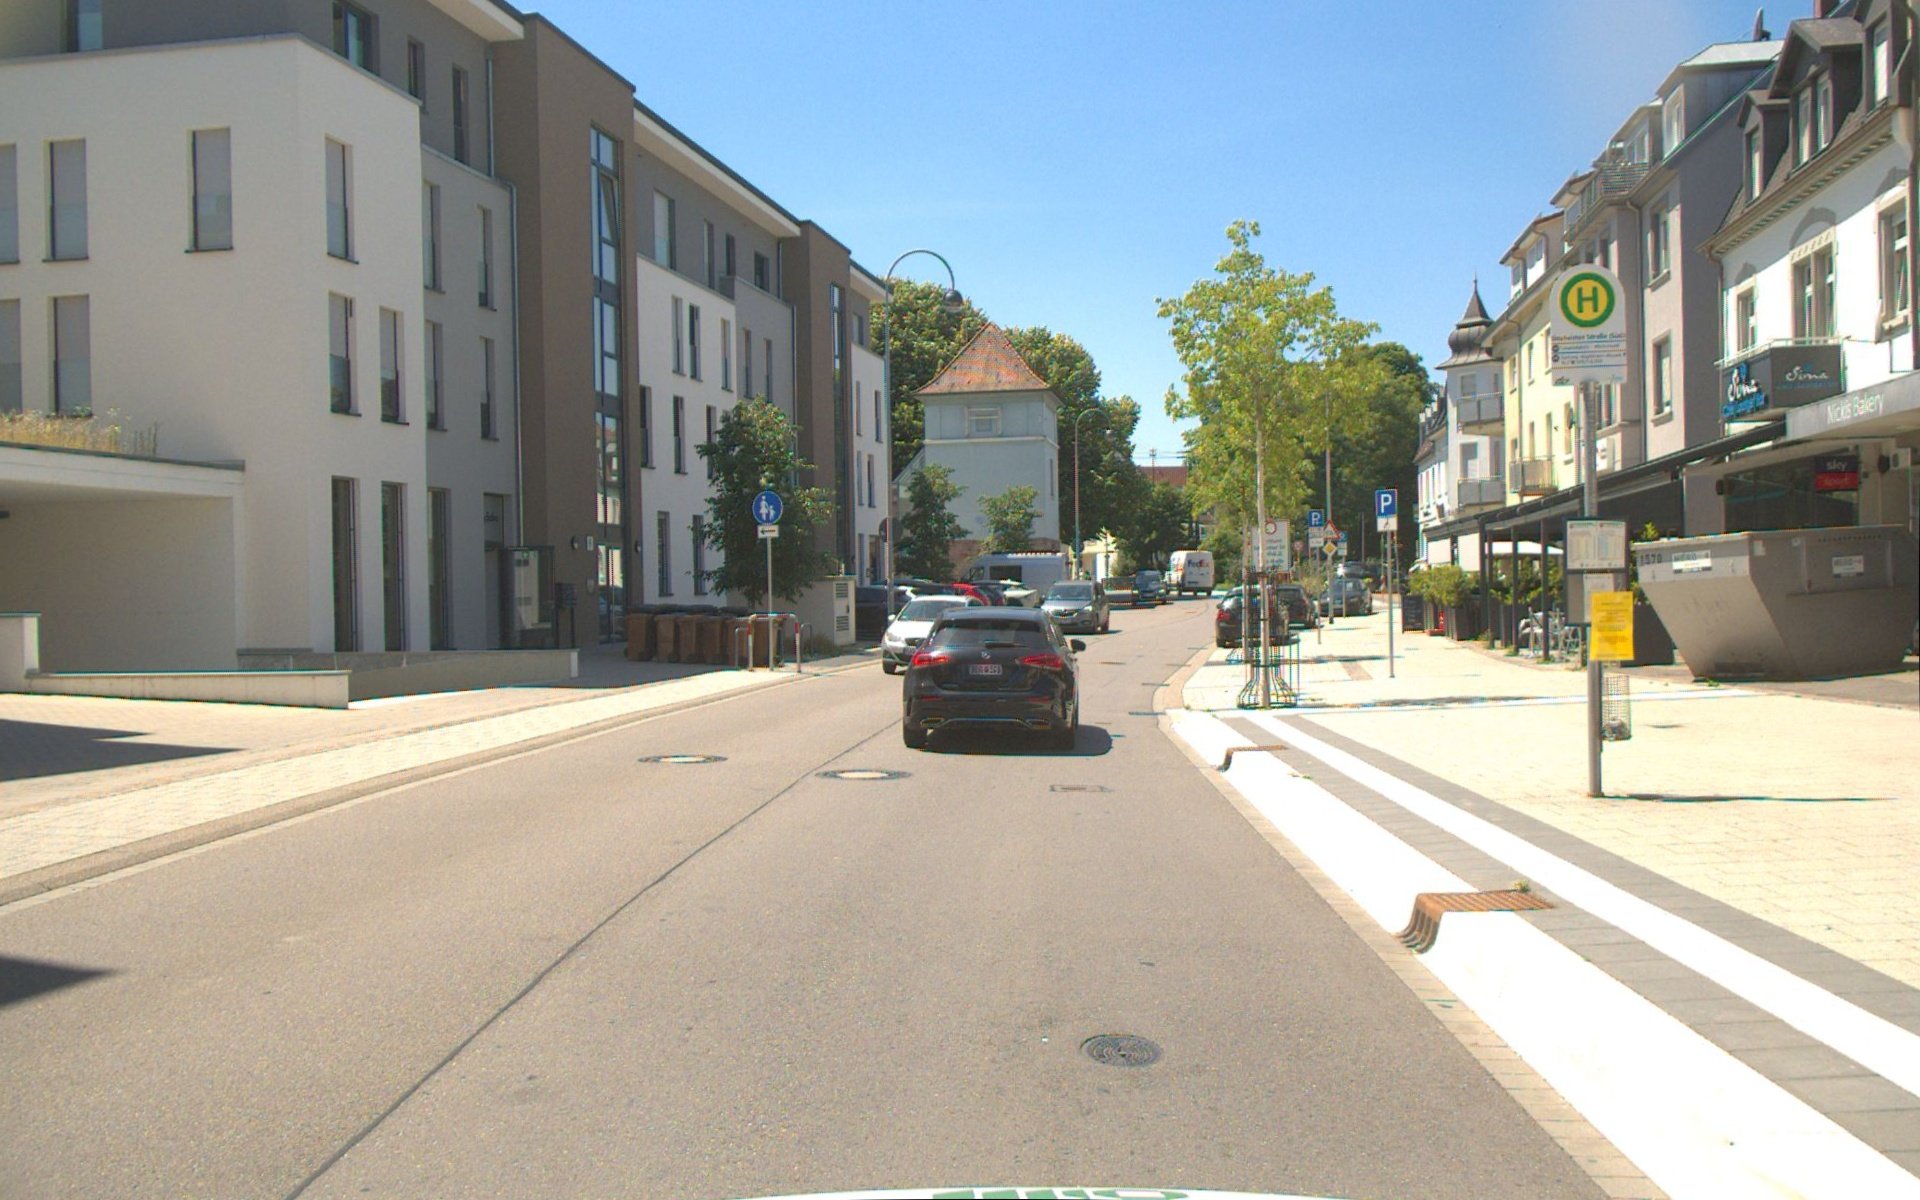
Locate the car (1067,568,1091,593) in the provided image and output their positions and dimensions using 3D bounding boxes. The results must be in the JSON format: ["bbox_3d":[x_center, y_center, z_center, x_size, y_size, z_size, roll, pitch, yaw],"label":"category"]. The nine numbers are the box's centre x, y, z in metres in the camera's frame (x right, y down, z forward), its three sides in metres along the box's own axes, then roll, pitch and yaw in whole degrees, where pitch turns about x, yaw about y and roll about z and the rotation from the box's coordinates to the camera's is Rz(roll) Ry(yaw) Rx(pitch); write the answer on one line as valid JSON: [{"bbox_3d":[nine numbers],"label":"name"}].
[{"bbox_3d":[10.075,-1.615,140.400,1.952,2.049,4.001,1,0,3],"label":"car"}]

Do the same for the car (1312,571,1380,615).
[{"bbox_3d":[15.432,-0.283,66.013,1.834,1.517,3.860,-2,2,25],"label":"car"}]

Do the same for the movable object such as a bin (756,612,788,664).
[{"bbox_3d":[-3.767,0.761,33.194,0.472,1.015,0.588,-1,0,10],"label":"movable object such as a bin"}]

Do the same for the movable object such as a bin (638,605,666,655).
[{"bbox_3d":[-6.652,0.638,35.750,0.543,1.057,0.481,-1,0,-6],"label":"movable object such as a bin"}]

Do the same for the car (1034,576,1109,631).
[{"bbox_3d":[3.591,0.093,52.476,1.900,1.687,4.239,0,0,11],"label":"car"}]

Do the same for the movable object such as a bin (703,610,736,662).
[{"bbox_3d":[-4.760,0.708,32.721,0.472,1.015,0.588,-1,0,10],"label":"movable object such as a bin"}]

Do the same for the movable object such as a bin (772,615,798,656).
[{"bbox_3d":[-3.863,0.777,36.569,0.543,0.883,0.481,-1,0,-6],"label":"movable object such as a bin"}]

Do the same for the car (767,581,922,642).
[{"bbox_3d":[-3.171,0.303,45.913,3.902,1.541,2.002,0,3,11],"label":"car"}]

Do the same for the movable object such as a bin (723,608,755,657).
[{"bbox_3d":[-4.742,0.693,35.551,0.542,1.038,0.561,-1,0,6],"label":"movable object such as a bin"}]

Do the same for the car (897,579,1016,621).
[{"bbox_3d":[-0.114,0.001,60.001,4.110,1.462,1.887,0,1,7],"label":"car"}]

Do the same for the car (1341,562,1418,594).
[{"bbox_3d":[23.052,-1.199,90.981,3.988,1.746,1.858,0,1,9],"label":"car"}]

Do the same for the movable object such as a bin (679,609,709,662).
[{"bbox_3d":[-5.280,0.701,32.828,0.415,1.015,0.524,-1,0,11],"label":"movable object such as a bin"}]

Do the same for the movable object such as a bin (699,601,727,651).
[{"bbox_3d":[-5.427,0.564,36.299,0.564,1.057,0.549,-1,0,-6],"label":"movable object such as a bin"}]

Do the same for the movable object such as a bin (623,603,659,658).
[{"bbox_3d":[-6.702,0.631,34.749,0.679,1.114,0.647,-1,0,-6],"label":"movable object such as a bin"}]

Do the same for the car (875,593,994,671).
[{"bbox_3d":[-0.439,0.586,32.249,1.631,1.420,3.851,0,0,10],"label":"car"}]

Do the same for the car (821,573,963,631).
[{"bbox_3d":[-2.056,0.038,50.533,3.946,1.680,2.002,1,1,13],"label":"car"}]

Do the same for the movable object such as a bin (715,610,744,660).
[{"bbox_3d":[-4.833,0.734,34.723,0.543,1.015,0.404,-1,0,-2],"label":"movable object such as a bin"}]

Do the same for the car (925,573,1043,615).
[{"bbox_3d":[0.973,-0.250,65.486,4.358,1.619,2.002,0,1,11],"label":"car"}]

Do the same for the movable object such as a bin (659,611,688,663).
[{"bbox_3d":[-5.740,0.743,33.158,0.394,1.015,0.556,-1,0,10],"label":"movable object such as a bin"}]

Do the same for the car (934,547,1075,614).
[{"bbox_3d":[1.900,-0.834,70.182,5.644,2.780,2.294,0,1,12],"label":"car"}]

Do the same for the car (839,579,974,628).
[{"bbox_3d":[-1.699,0.099,53.331,3.946,1.523,2.002,1,1,13],"label":"car"}]

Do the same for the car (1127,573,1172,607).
[{"bbox_3d":[9.700,-0.506,84.566,1.772,1.731,4.079,0,0,14],"label":"car"}]

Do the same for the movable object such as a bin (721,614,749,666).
[{"bbox_3d":[-4.503,0.798,33.168,0.394,1.015,0.556,-1,0,10],"label":"movable object such as a bin"}]

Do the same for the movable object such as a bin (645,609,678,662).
[{"bbox_3d":[-5.886,0.697,32.599,0.472,1.015,0.527,-1,0,11],"label":"movable object such as a bin"}]

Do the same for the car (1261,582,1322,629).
[{"bbox_3d":[11.135,0.154,55.350,1.687,1.429,4.613,-2,0,15],"label":"car"}]

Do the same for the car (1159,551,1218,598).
[{"bbox_3d":[13.480,-1.495,97.964,2.087,2.676,5.268,1,0,-8],"label":"car"}]

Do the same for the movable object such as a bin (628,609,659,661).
[{"bbox_3d":[-6.363,0.704,33.291,0.473,1.015,0.588,-1,0,4],"label":"movable object such as a bin"}]

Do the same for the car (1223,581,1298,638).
[{"bbox_3d":[8.986,0.253,49.231,1.701,1.512,4.057,-3,0,16],"label":"car"}]

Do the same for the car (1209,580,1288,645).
[{"bbox_3d":[7.593,0.309,43.242,1.793,1.508,4.099,-3,-1,12],"label":"car"}]

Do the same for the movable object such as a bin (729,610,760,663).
[{"bbox_3d":[-4.239,0.716,32.553,0.473,1.015,0.588,-1,0,4],"label":"movable object such as a bin"}]

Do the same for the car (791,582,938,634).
[{"bbox_3d":[-2.741,0.213,48.097,3.902,1.446,1.912,1,1,12],"label":"car"}]

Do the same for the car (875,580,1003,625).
[{"bbox_3d":[-0.686,0.080,55.992,3.946,1.455,2.002,1,1,13],"label":"car"}]

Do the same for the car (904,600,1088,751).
[{"bbox_3d":[0.484,0.738,18.114,1.789,1.467,4.002,0,0,4],"label":"car"}]

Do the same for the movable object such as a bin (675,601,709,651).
[{"bbox_3d":[-5.767,0.562,35.642,0.662,1.057,0.604,-1,0,-6],"label":"movable object such as a bin"}]

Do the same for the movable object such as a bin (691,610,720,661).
[{"bbox_3d":[-5.132,0.711,33.376,0.394,1.015,0.556,-1,0,10],"label":"movable object such as a bin"}]
